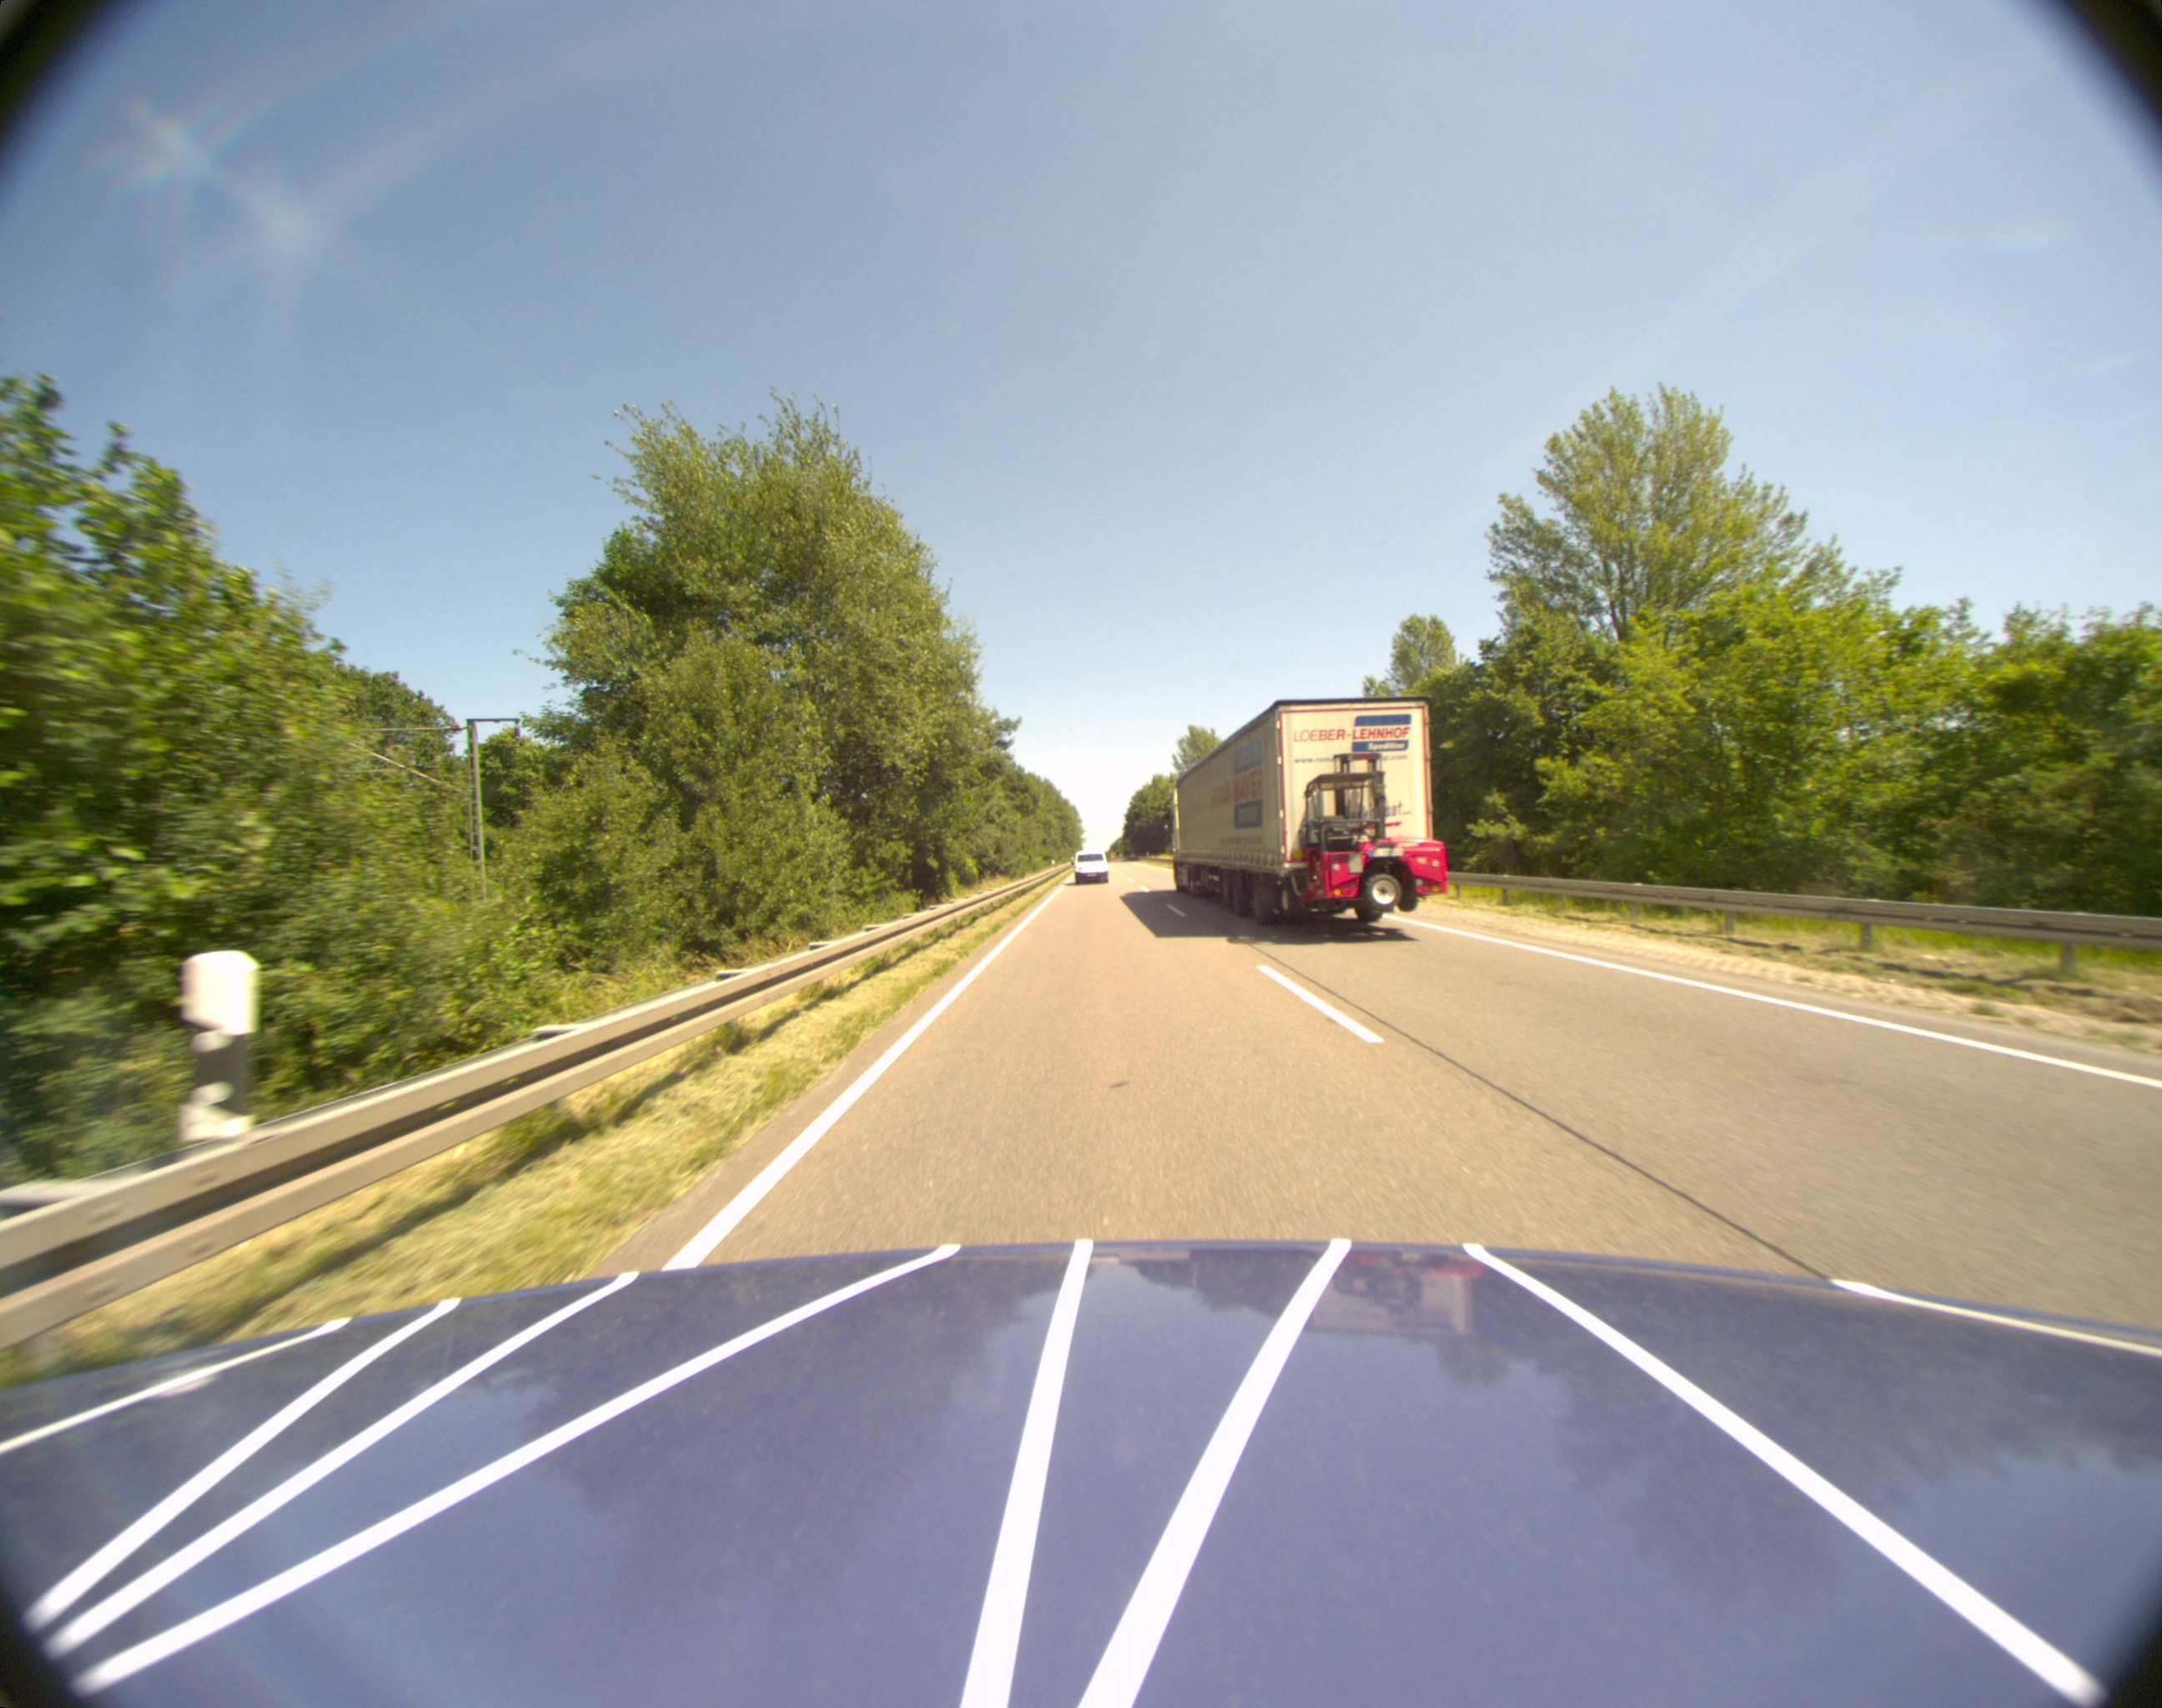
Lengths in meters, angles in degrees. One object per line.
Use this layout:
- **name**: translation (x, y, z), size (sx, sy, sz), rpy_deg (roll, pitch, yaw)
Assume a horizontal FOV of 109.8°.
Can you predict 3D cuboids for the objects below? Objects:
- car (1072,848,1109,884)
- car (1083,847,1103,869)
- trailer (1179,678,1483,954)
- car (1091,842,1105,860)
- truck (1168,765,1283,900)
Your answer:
- **car**: translation (0.545, 0.652, 41.805), size (1.782, 1.743, 4.513), rpy_deg (-4, -1, 1)
- **car**: translation (1.163, 0.409, 72.230), size (1.782, 1.960, 4.106), rpy_deg (-4, -1, 1)
- **trailer**: translation (4.582, -0.598, 18.047), size (2.770, 3.976, 13.685), rpy_deg (-2, 0, 1)
- **car**: translation (2.425, -0.364, 106.107), size (1.782, 2.287, 4.106), rpy_deg (-4, -1, 1)
- **truck**: translation (4.717, -0.661, 25.976), size (2.770, 3.976, 5.907), rpy_deg (-2, 1, 1)
